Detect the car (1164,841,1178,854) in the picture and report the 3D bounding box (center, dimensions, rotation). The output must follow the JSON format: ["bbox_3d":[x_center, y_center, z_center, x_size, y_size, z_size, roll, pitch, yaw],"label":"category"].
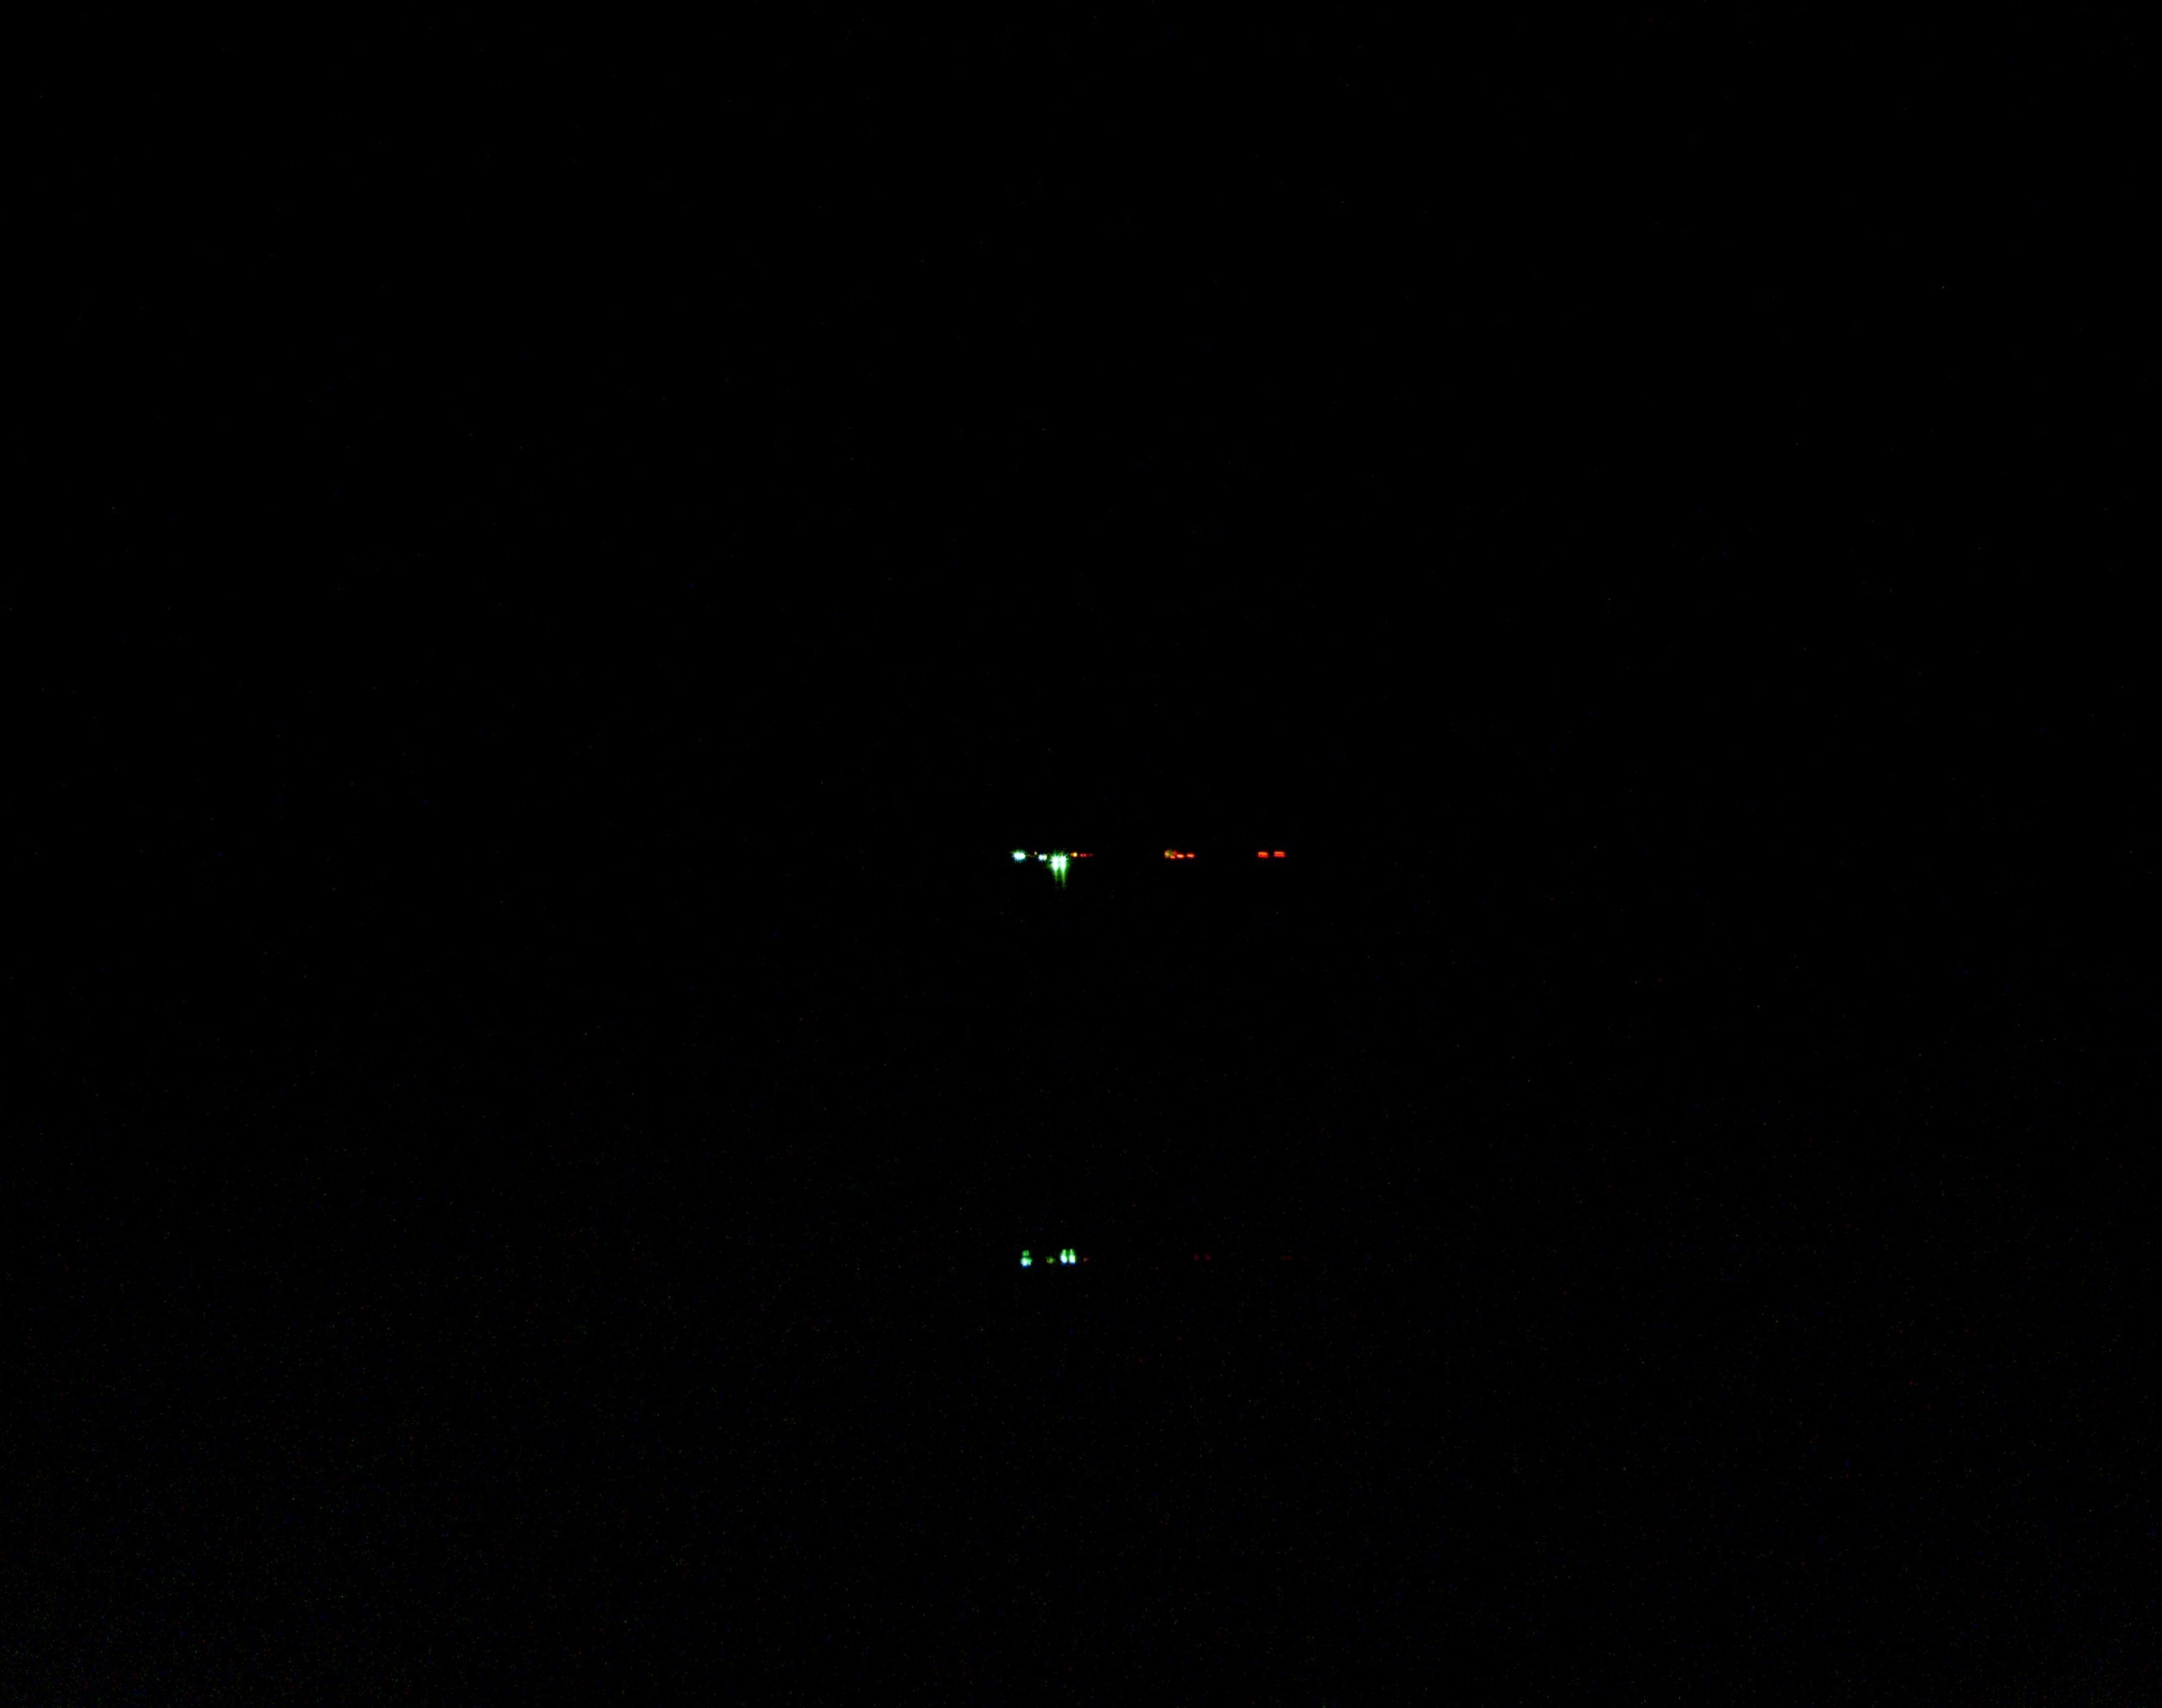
[{"bbox_3d":[19.068,-1.373,160.922,2.087,2.473,6.240,-2,1,-1],"label":"car"}]

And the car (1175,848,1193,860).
[{"bbox_3d":[13.835,-0.043,102.278,1.907,1.496,4.273,-2,1,0],"label":"car"}]

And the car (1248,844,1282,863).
[{"bbox_3d":[18.312,-0.089,75.972,1.999,1.811,5.686,-2,1,0],"label":"car"}]

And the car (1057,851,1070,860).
[{"bbox_3d":[-3.319,0.223,140.822,2.155,1.558,4.579,-2,1,-4],"label":"car"}]
